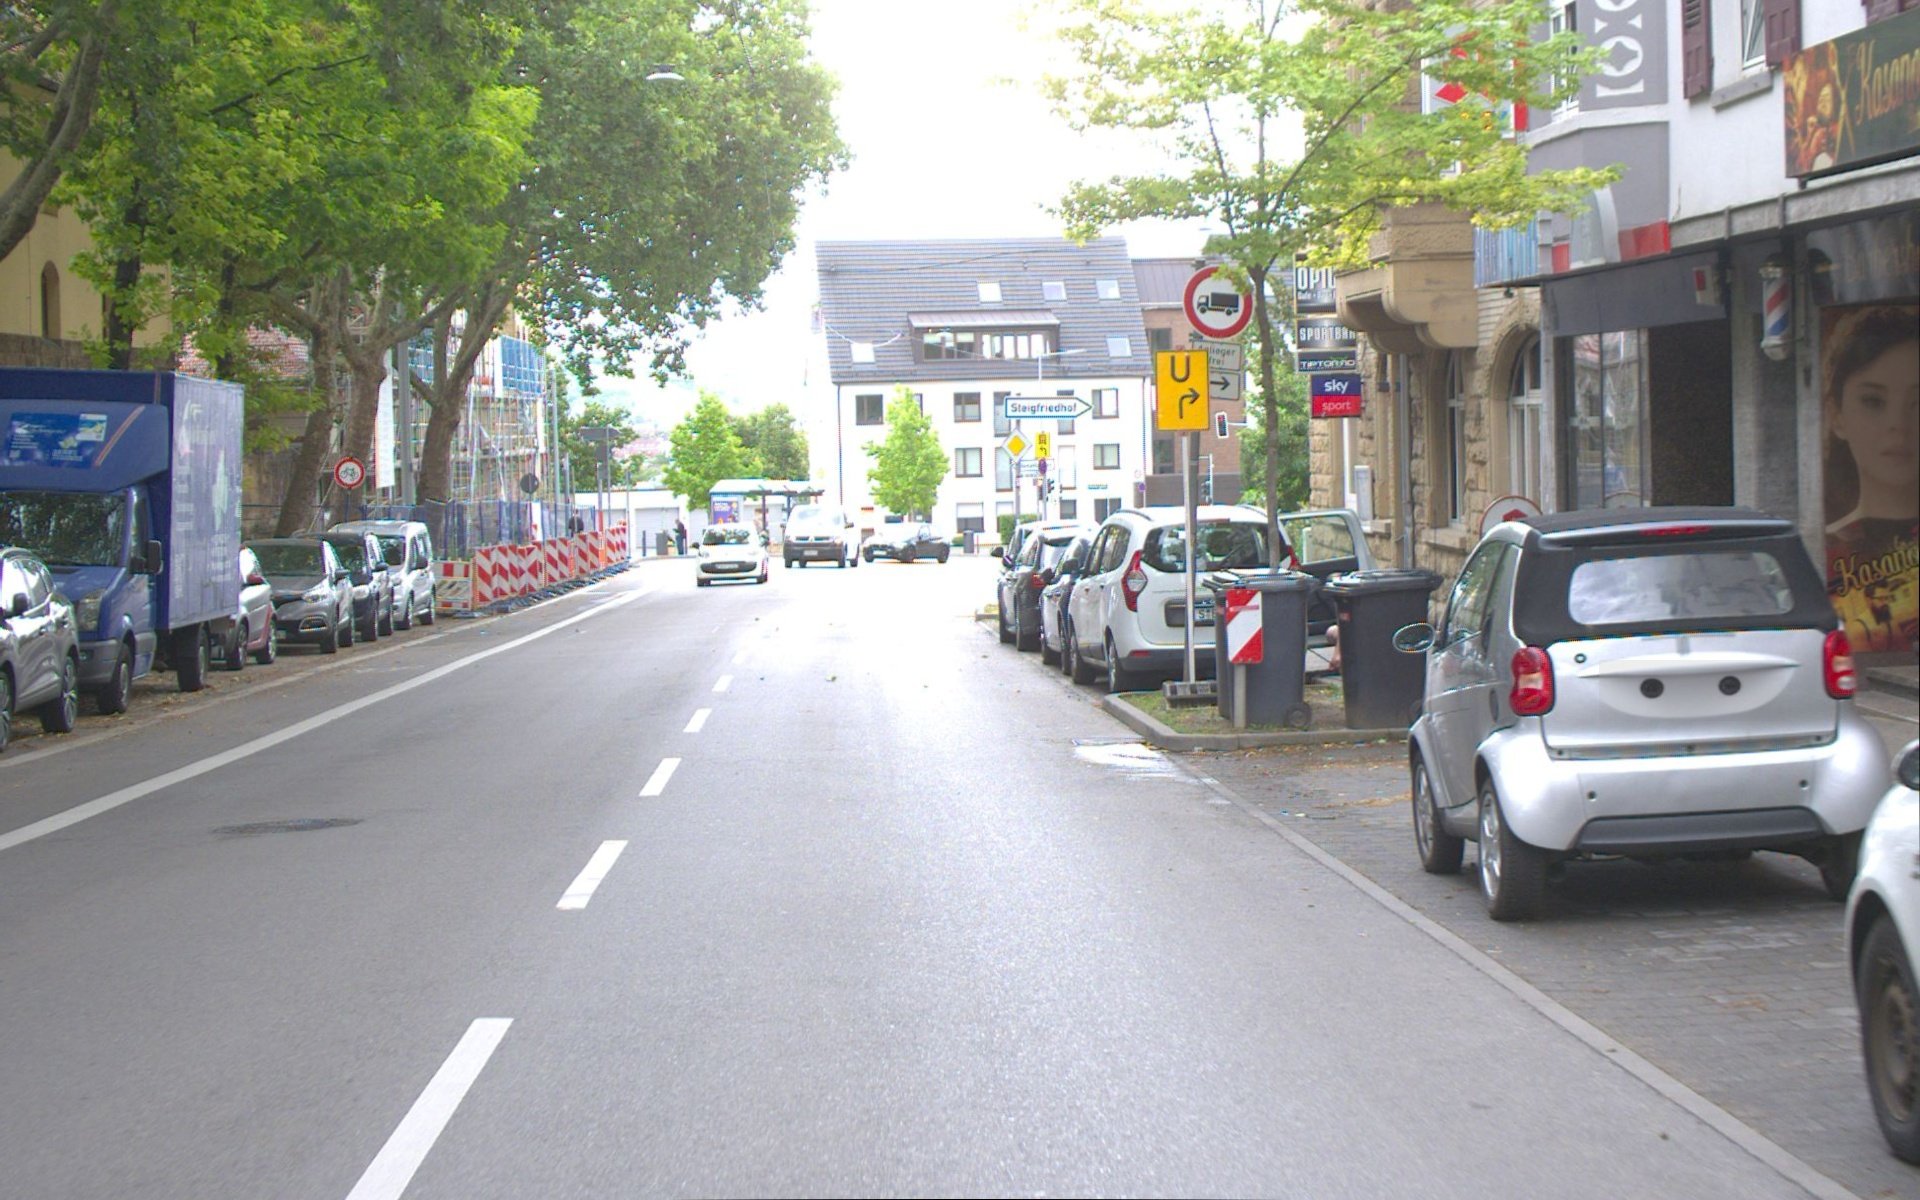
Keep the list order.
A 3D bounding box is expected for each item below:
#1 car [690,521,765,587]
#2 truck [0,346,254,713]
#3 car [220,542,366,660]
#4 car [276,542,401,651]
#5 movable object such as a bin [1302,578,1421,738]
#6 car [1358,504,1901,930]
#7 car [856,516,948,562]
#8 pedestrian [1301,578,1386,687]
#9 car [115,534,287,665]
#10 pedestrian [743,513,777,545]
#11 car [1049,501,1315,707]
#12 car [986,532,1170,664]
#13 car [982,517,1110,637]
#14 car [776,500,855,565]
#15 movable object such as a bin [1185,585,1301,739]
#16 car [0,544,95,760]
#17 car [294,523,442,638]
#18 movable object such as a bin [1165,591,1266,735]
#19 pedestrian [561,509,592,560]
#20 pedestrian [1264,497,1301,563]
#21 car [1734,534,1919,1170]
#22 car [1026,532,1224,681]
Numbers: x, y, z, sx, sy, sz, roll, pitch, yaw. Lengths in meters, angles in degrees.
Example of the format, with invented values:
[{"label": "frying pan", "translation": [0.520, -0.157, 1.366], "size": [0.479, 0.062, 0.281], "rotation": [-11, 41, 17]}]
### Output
[{"label": "car", "translation": [-5.604, -1.115, 83.104], "size": [1.583, 1.459, 3.652], "rotation": [-4, 1, -2]}, {"label": "truck", "translation": [-9.013, -0.713, 35.629], "size": [2.215, 3.404, 7.248], "rotation": [1, 1, -3]}, {"label": "car", "translation": [-9.348, 0.008, 48.398], "size": [1.593, 1.568, 4.088], "rotation": [1, 0, -5]}, {"label": "car", "translation": [-9.679, -0.057, 53.761], "size": [1.508, 1.626, 4.116], "rotation": [1, 0, -5]}, {"label": "movable object such as a bin", "translation": [2.749, 0.391, 23.584], "size": [0.694, 1.070, 0.624], "rotation": [0, 1, -5]}, {"label": "car", "translation": [2.709, 0.398, 14.615], "size": [1.481, 1.529, 3.522], "rotation": [-3, 1, -1]}, {"label": "car", "translation": [-2.028, -2.170, 121.565], "size": [1.658, 1.459, 3.995], "rotation": [-4, 0, 24]}, {"label": "pedestrian", "translation": [3.382, 0.282, 30.333], "size": [0.625, 0.938, 0.693], "rotation": [0, 1, -4]}, {"label": "car", "translation": [-9.462, -0.011, 43.017], "size": [1.480, 1.568, 2.992], "rotation": [1, 0, 0]}, {"label": "pedestrian", "translation": [-7.412, -2.631, 127.302], "size": [0.934, 1.188, 0.904], "rotation": [1, 0, 27]}, {"label": "car", "translation": [1.946, 0.004, 31.439], "size": [1.678, 1.657, 4.545], "rotation": [-3, 1, -5]}, {"label": "car", "translation": [1.403, -0.056, 42.707], "size": [1.738, 1.458, 4.776], "rotation": [-3, 1, -4]}, {"label": "car", "translation": [1.190, -0.344, 48.921], "size": [1.565, 1.604, 3.654], "rotation": [-2, 1, -2]}, {"label": "car", "translation": [-4.427, -2.090, 105.899], "size": [2.205, 1.924, 5.240], "rotation": [0, 1, 0]}, {"label": "movable object such as a bin", "translation": [1.940, 0.418, 23.638], "size": [0.622, 1.021, 0.697], "rotation": [-1, 1, -10]}, {"label": "car", "translation": [-8.428, 0.390, 28.281], "size": [1.731, 1.683, 4.253], "rotation": [1, 0, -3]}, {"label": "car", "translation": [-10.176, -0.358, 59.389], "size": [1.834, 1.870, 4.417], "rotation": [-2, 1, -1]}, {"label": "movable object such as a bin", "translation": [1.862, 0.453, 25.129], "size": [0.622, 1.021, 0.697], "rotation": [-1, 1, -4]}, {"label": "pedestrian", "translation": [-12.941, -2.215, 116.120], "size": [0.923, 1.714, 0.798], "rotation": [1, 0, 1]}, {"label": "pedestrian", "translation": [8.552, -1.863, 91.171], "size": [0.710, 1.728, 0.661], "rotation": [1, 0, -35]}, {"label": "car", "translation": [2.993, 0.552, 7.121], "size": [1.683, 1.410, 4.042], "rotation": [-3, 1, -2]}, {"label": "car", "translation": [1.685, 0.033, 36.354], "size": [1.605, 1.392, 4.277], "rotation": [-3, 1, -3]}]
